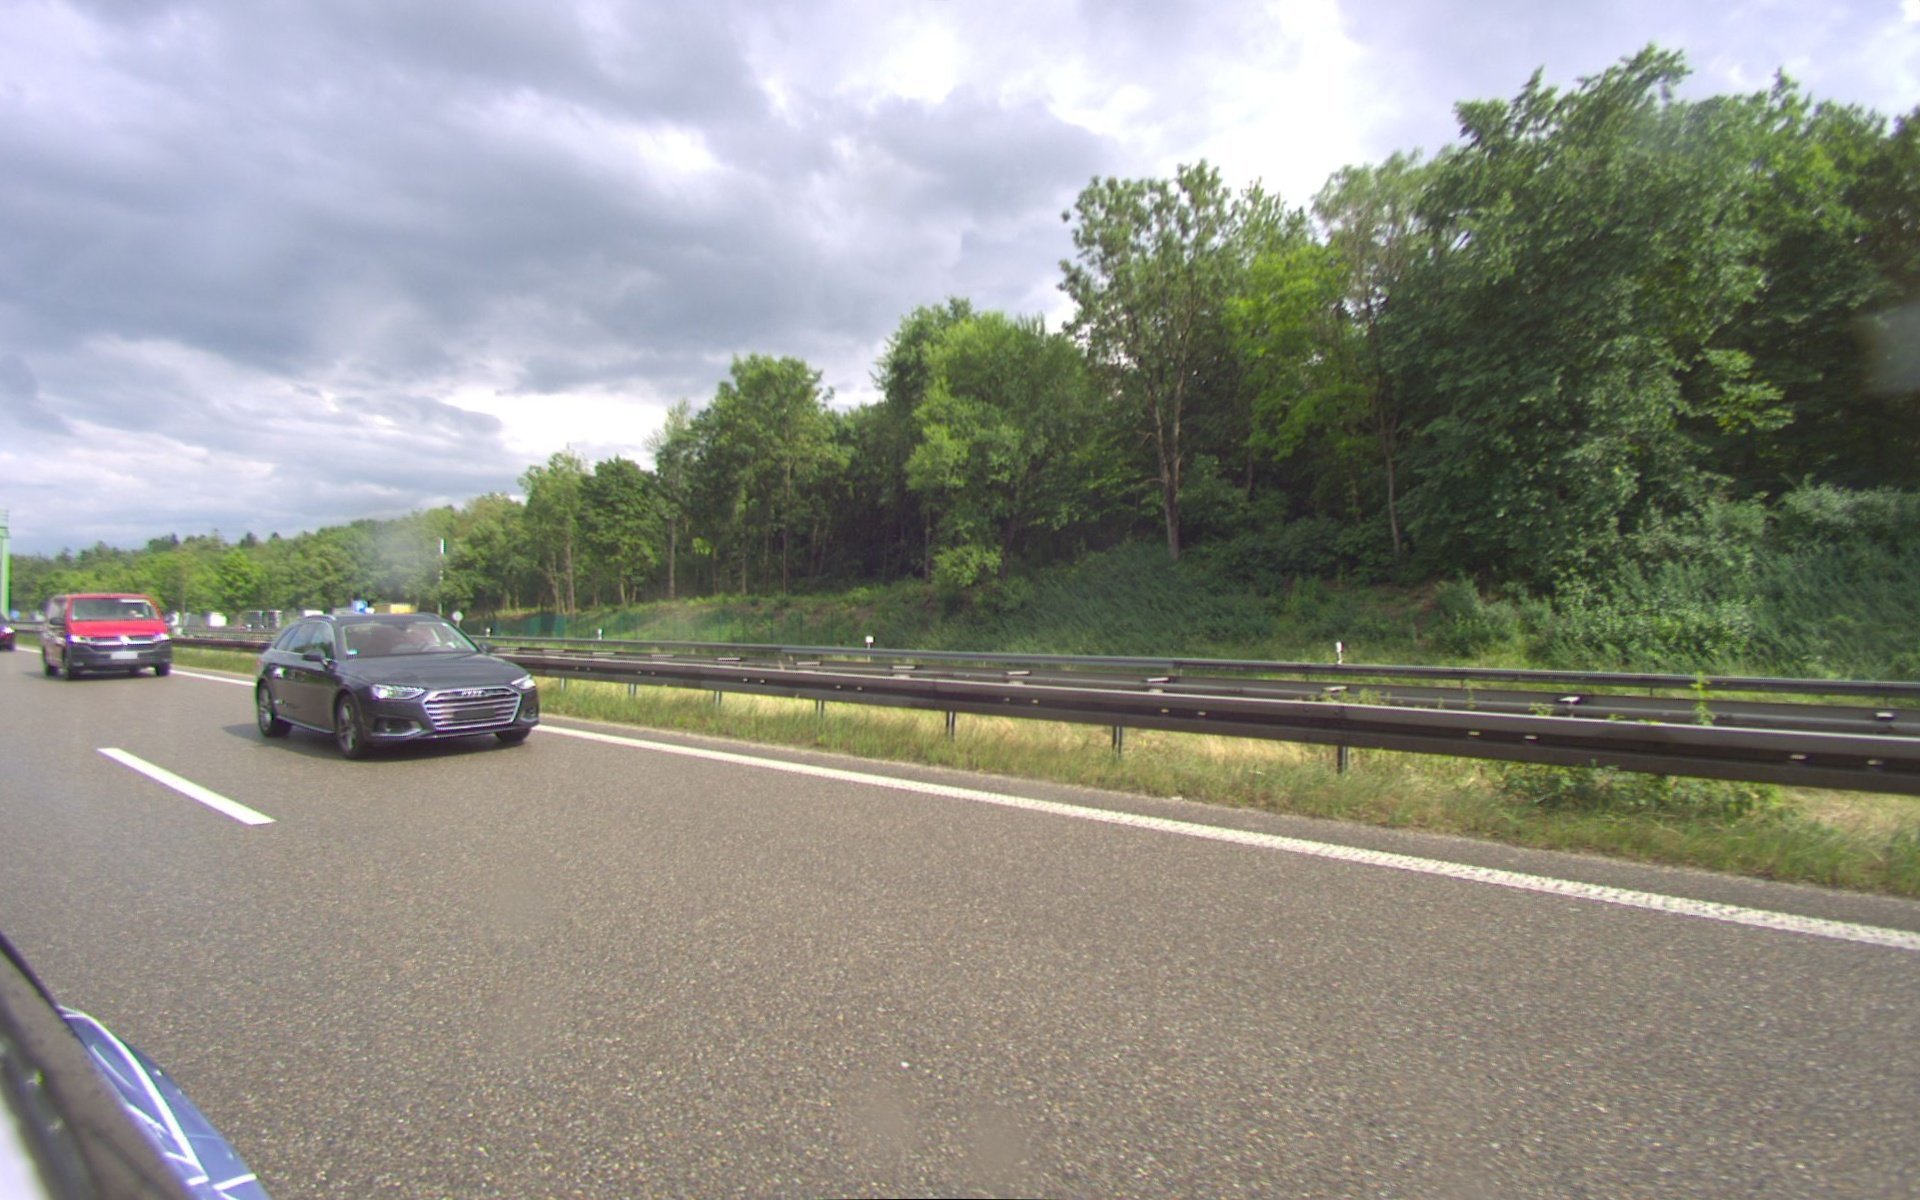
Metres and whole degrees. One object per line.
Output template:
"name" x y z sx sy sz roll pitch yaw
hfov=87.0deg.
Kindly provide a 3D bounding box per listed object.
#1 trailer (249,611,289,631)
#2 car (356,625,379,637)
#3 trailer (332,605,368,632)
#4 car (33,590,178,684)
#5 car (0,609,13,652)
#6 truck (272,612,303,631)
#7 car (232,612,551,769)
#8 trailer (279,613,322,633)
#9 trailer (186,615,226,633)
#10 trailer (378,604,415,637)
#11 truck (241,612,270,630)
"trailer" -122.241 3.720 178.827 12.640 3.296 2.577 -1 -2 41
"car" -78.154 4.068 133.477 1.871 1.514 4.005 2 -2 -41
"trailer" -85.586 2.675 141.976 2.156 3.627 11.734 2 -2 -42
"car" -20.160 0.814 23.796 4.747 2.000 1.871 -1 0 41
"car" -39.896 1.233 40.939 4.292 1.682 1.871 -1 -1 40
"truck" -113.737 3.695 171.157 5.596 3.208 3.009 -1 -2 43
"car" -6.498 0.855 11.339 4.465 1.422 1.701 -1 -1 41
"trailer" -108.502 3.766 166.323 12.173 3.217 2.987 -1 -2 43
"trailer" -149.426 4.733 200.463 12.631 3.296 3.153 -1 -2 38
"trailer" -66.564 2.302 119.378 1.967 3.722 13.688 -1 0 -37
"truck" -127.863 3.782 183.648 6.532 3.275 2.549 0 -2 41
